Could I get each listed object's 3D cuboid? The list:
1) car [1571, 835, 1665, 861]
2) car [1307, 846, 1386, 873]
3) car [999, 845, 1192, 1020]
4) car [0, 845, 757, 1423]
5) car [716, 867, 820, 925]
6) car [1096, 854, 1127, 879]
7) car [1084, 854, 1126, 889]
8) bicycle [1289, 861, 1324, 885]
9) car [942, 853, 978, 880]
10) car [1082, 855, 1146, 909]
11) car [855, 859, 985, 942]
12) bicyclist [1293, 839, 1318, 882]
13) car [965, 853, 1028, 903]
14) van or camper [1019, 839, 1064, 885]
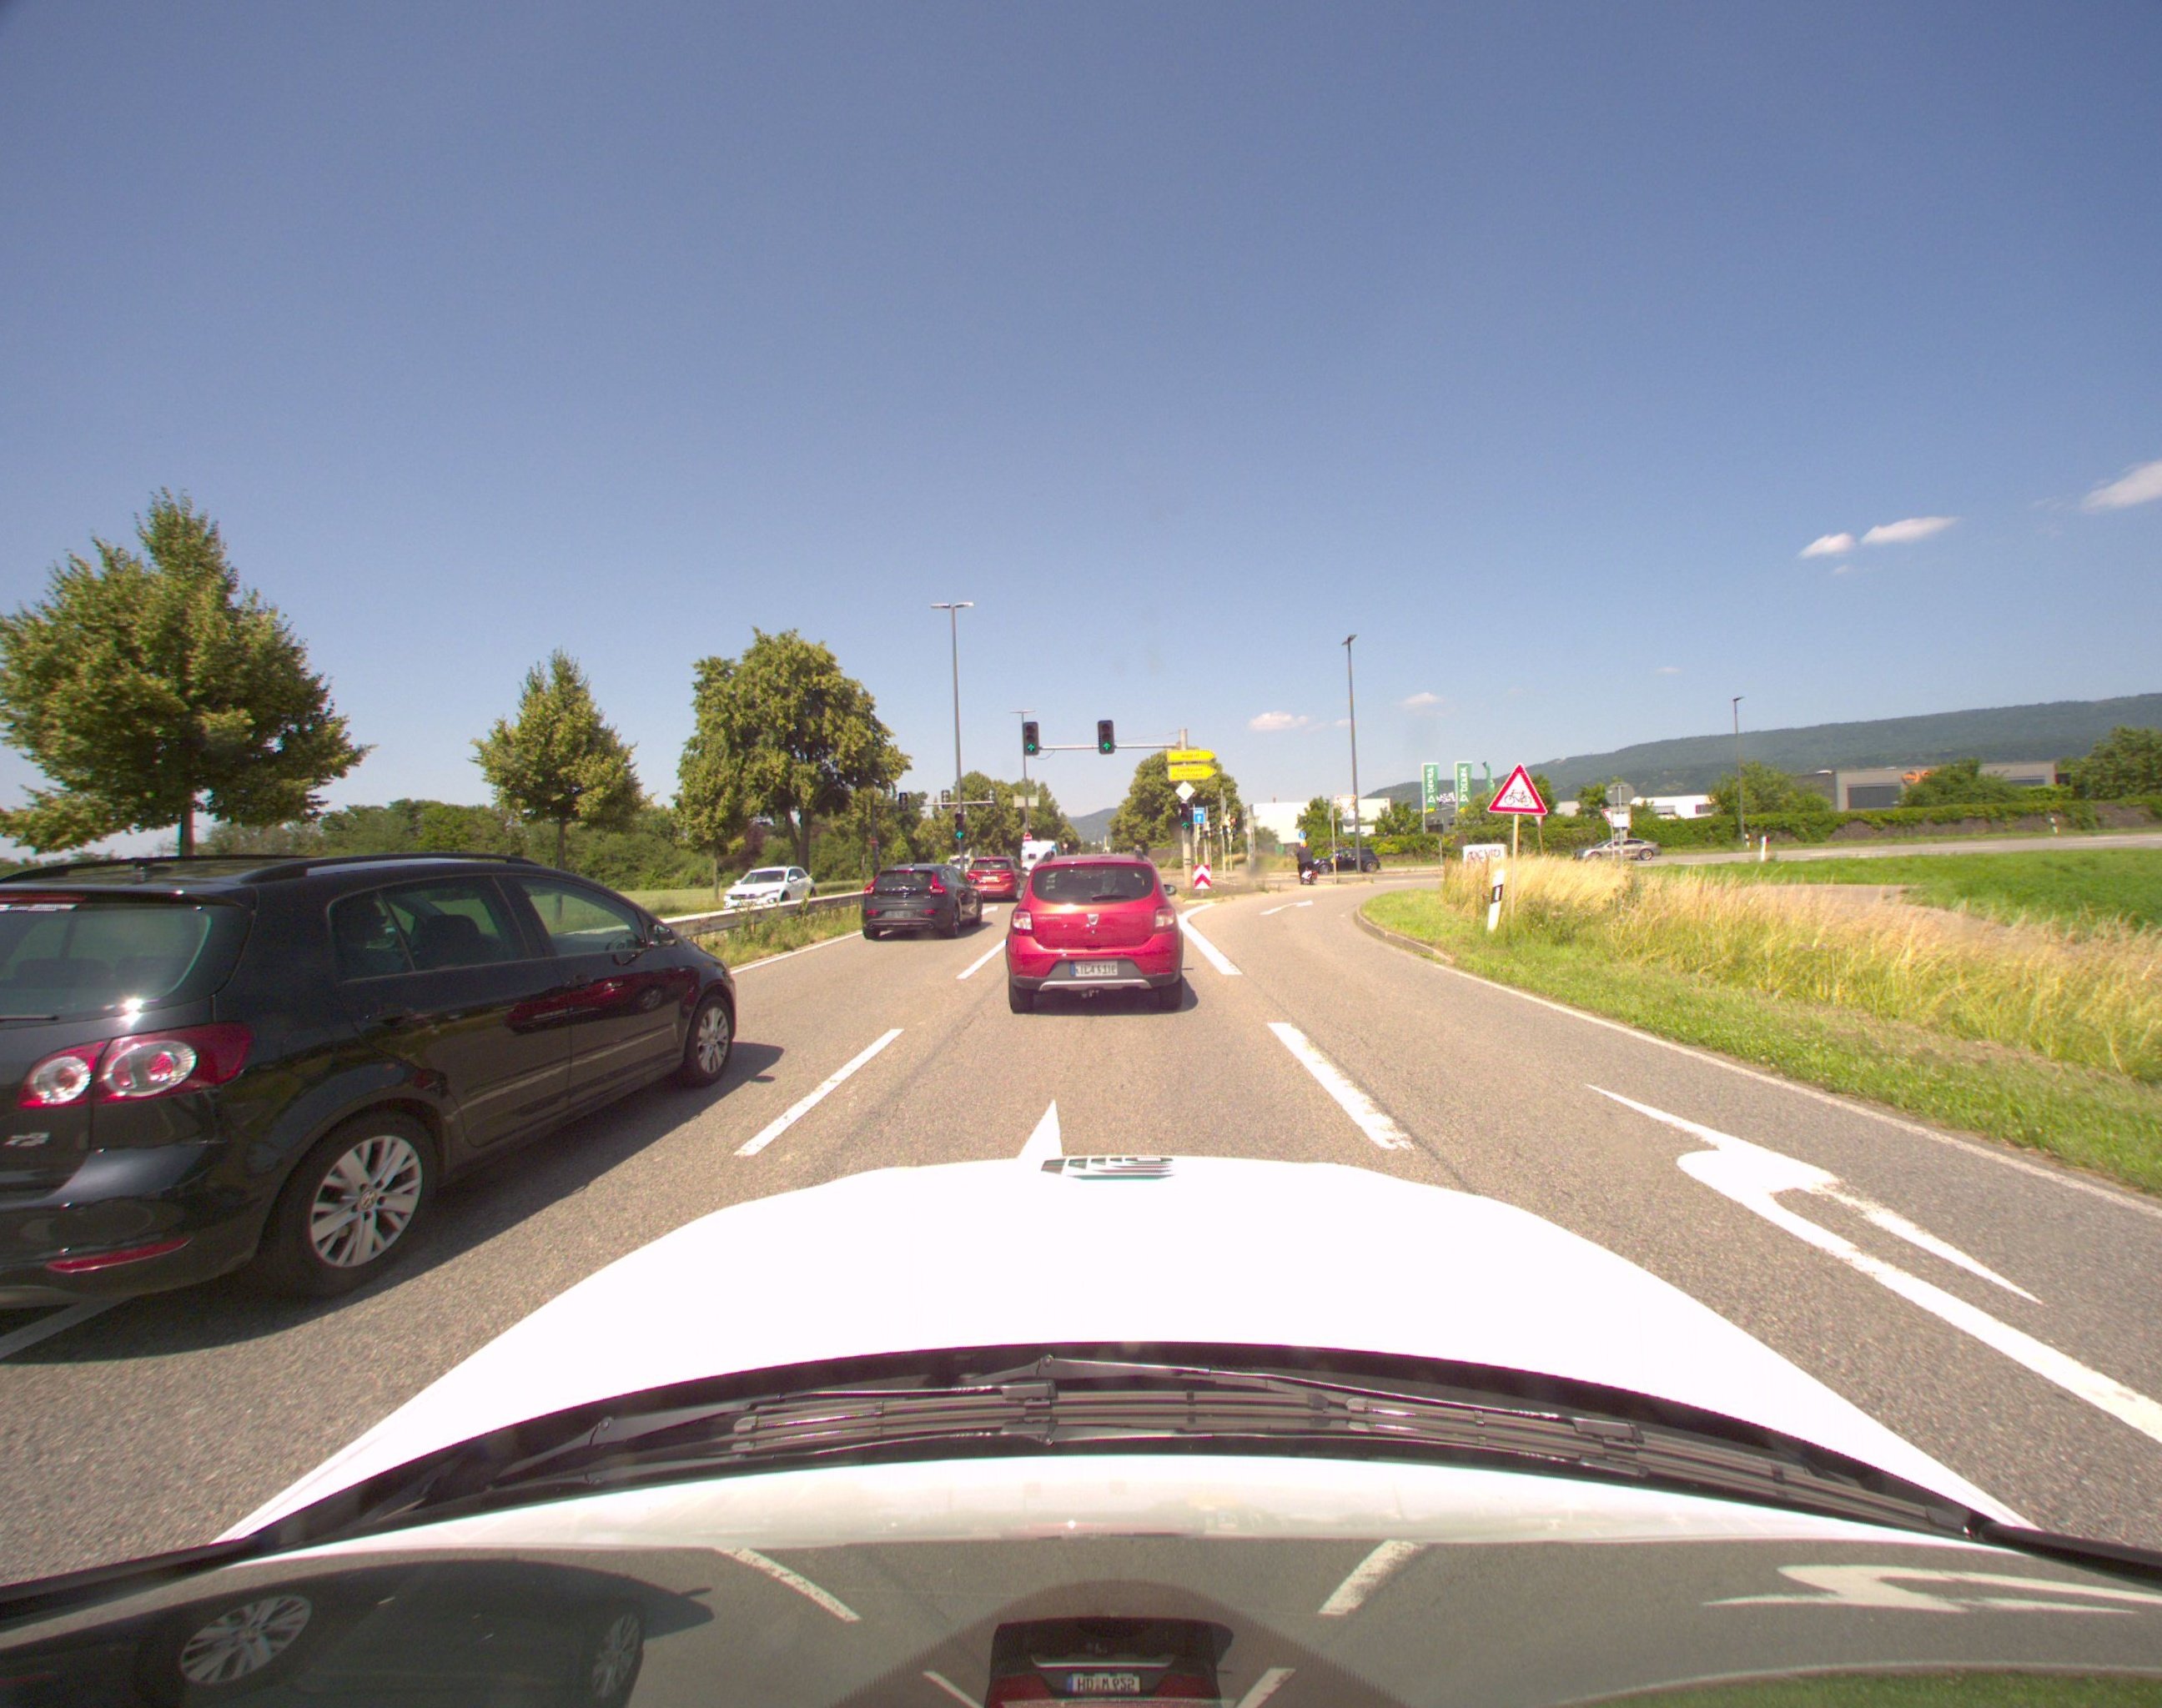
[{"bbox_3d":[32.163,-0.338,48.931,4.333,1.327,1.813,-2,0,13],"label":"car"},{"bbox_3d":[14.647,0.287,45.086,3.960,1.327,1.813,-2,0,12],"label":"car"},{"bbox_3d":[0.247,0.732,9.316,1.742,1.576,3.680,-1,0,3],"label":"car"},{"bbox_3d":[-3.390,0.774,4.194,1.716,1.575,3.895,-1,0,2],"label":"car"},{"bbox_3d":[-9.975,1.277,26.293,1.740,1.618,4.134,-2,0,-1],"label":"car"},{"bbox_3d":[1.920,0.763,50.368,1.742,1.458,3.680,-1,0,3],"label":"car"},{"bbox_3d":[1.150,0.772,37.226,1.742,1.458,3.680,-1,0,3],"label":"car"},{"bbox_3d":[9.667,0.810,35.056,0.759,0.915,2.780,-2,0,1],"label":"bicycle"},{"bbox_3d":[-9.615,0.973,65.178,1.987,1.980,5.016,-2,0,1],"label":"car"},{"bbox_3d":[1.018,0.773,24.370,1.742,1.458,3.680,-1,0,3],"label":"car"},{"bbox_3d":[-3.131,0.850,16.634,1.695,1.442,3.958,-1,0,3],"label":"car"},{"bbox_3d":[9.641,0.267,34.983,0.799,1.771,0.809,-2,0,1],"label":"bicyclist"},{"bbox_3d":[-2.890,0.779,28.536,1.718,1.600,3.955,-2,0,1],"label":"car"},{"bbox_3d":[-2.093,0.435,44.203,2.172,2.303,4.825,-1,0,0],"label":"van or camper"}]
